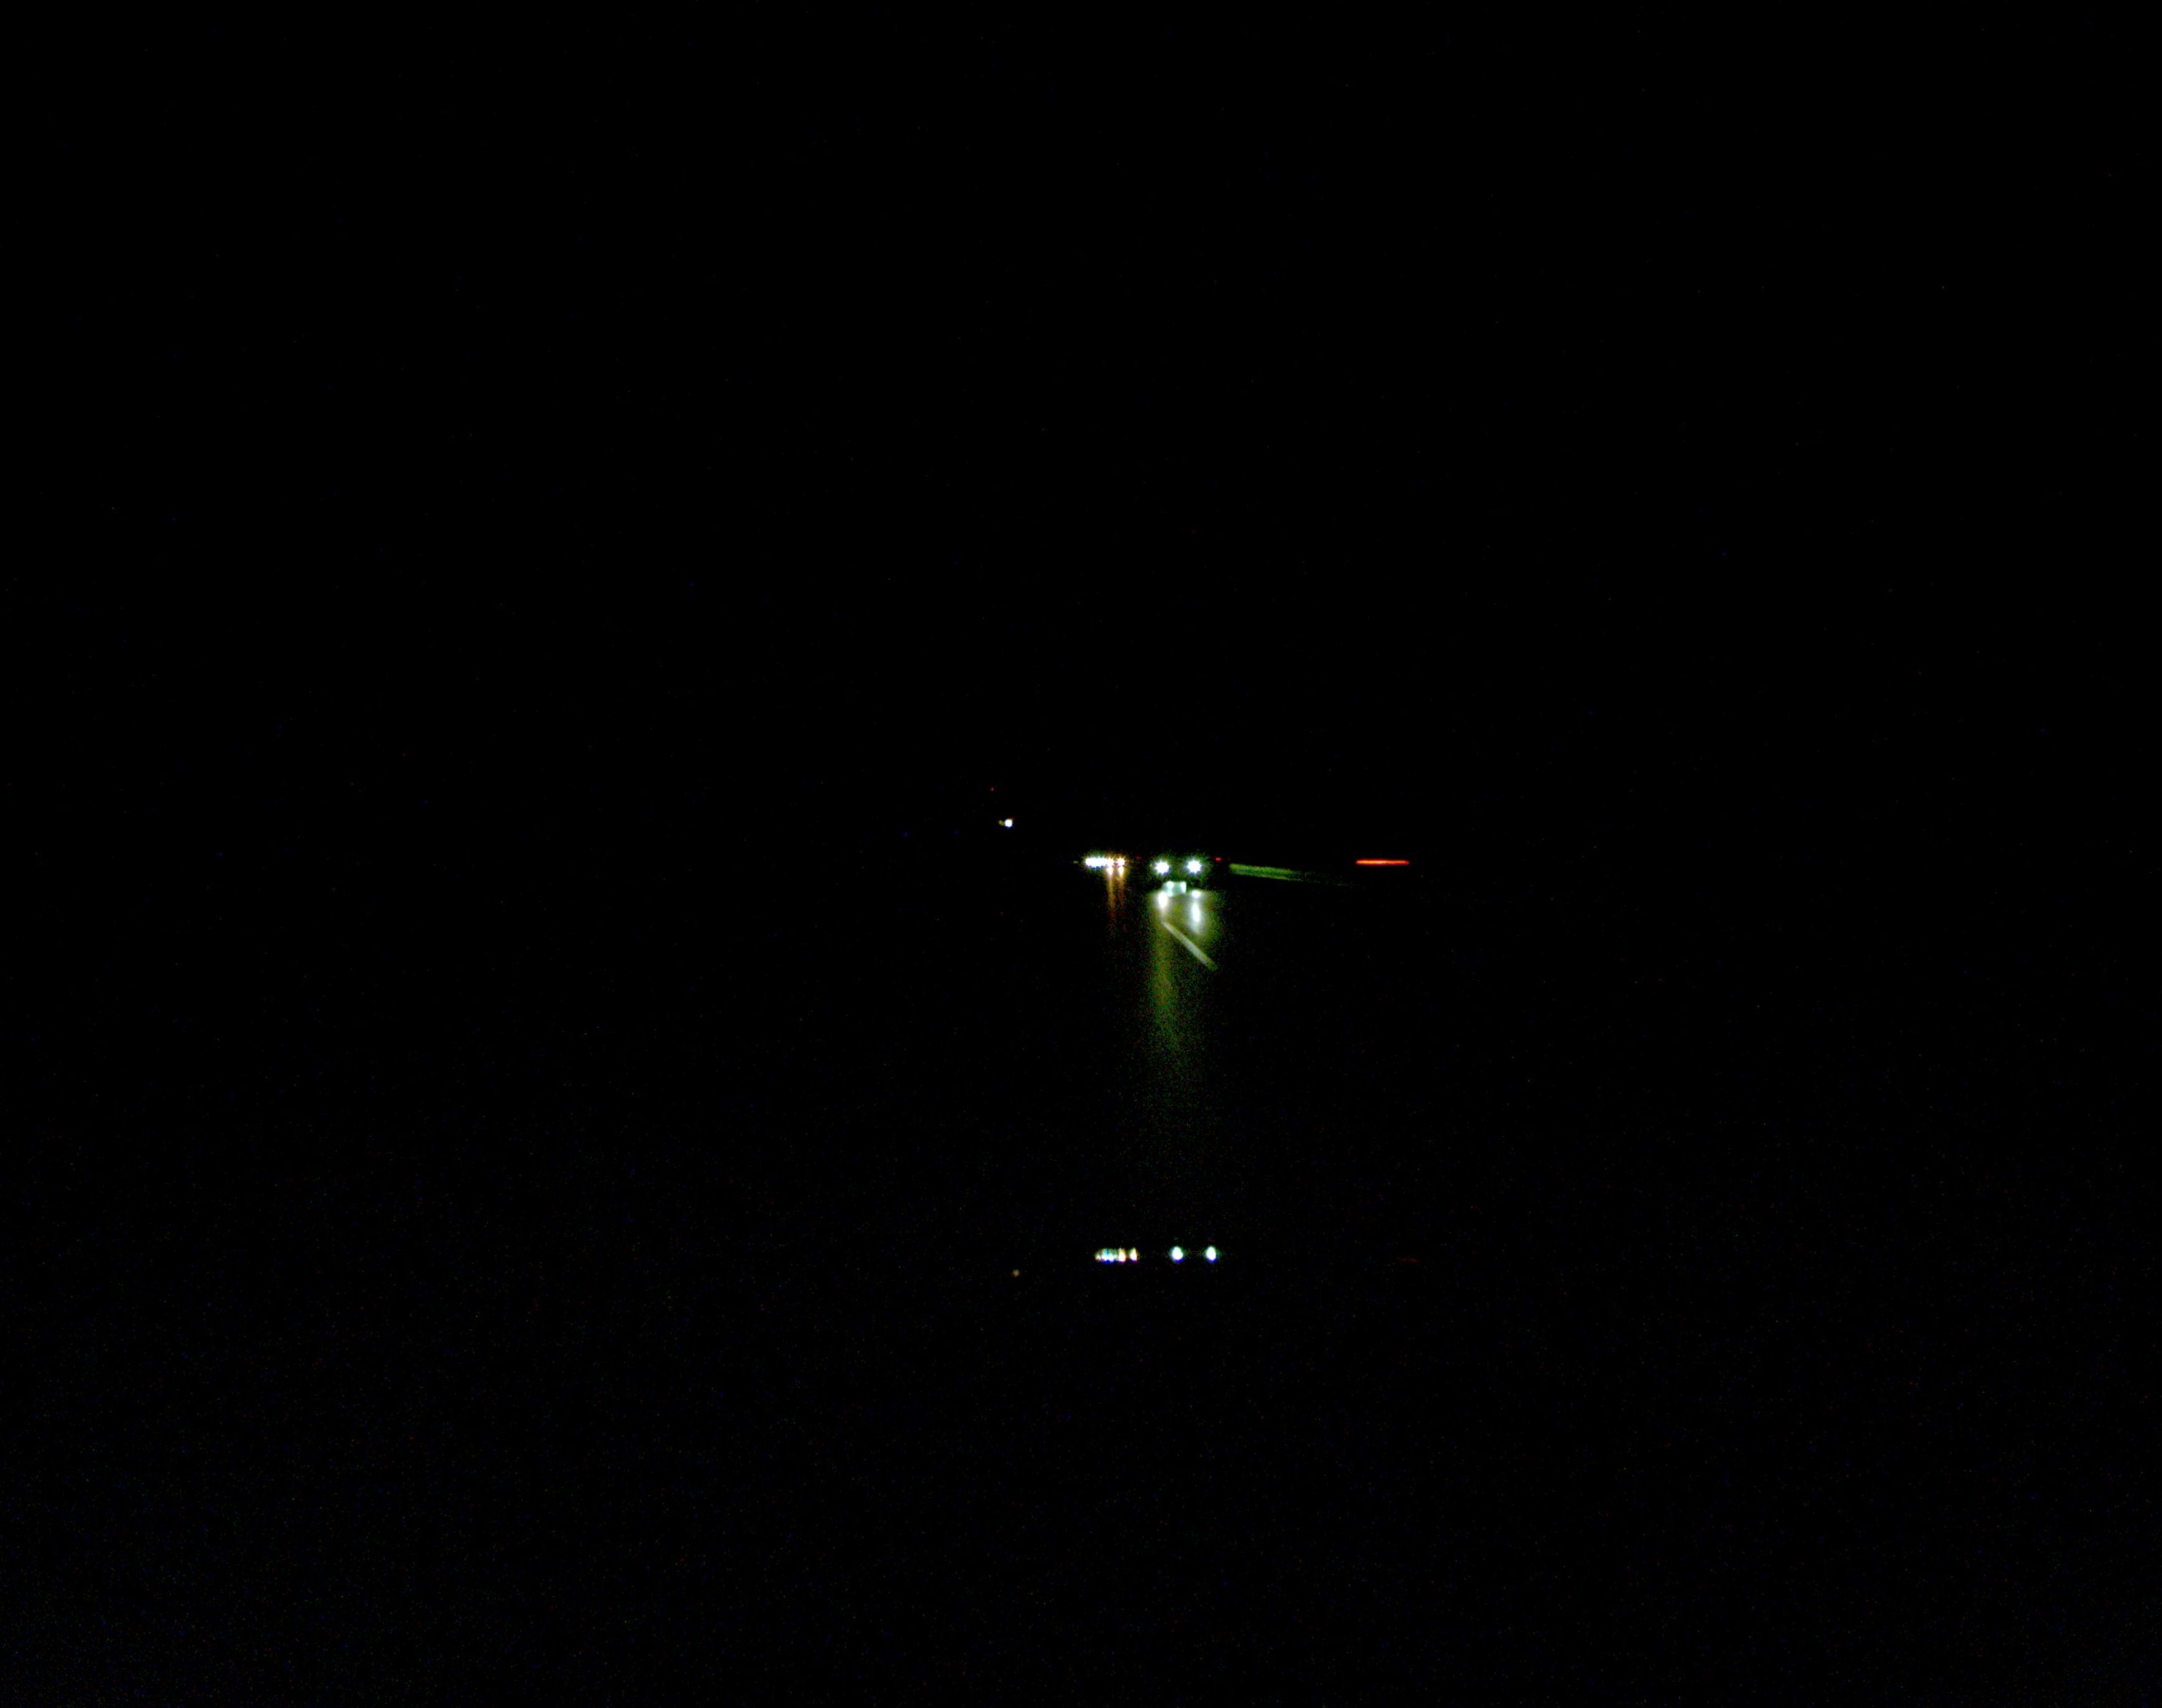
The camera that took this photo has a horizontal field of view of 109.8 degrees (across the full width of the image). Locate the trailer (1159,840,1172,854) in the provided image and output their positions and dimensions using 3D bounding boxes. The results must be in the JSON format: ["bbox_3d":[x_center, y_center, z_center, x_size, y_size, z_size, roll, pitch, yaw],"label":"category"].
[{"bbox_3d":[26.834,-2.093,242.336,3.063,4.209,13.040,-2,0,2],"label":"trailer"}]

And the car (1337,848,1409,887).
[{"bbox_3d":[16.141,0.687,42.239,2.202,1.944,4.763,-2,0,1],"label":"car"}]

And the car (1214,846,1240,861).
[{"bbox_3d":[17.599,-0.105,91.656,2.202,1.672,4.763,-2,0,1],"label":"car"}]

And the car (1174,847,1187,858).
[{"bbox_3d":[26.447,-0.421,202.660,2.499,3.011,7.139,-2,0,0],"label":"car"}]

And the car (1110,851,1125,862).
[{"bbox_3d":[5.044,0.362,106.322,1.998,1.423,4.329,-2,1,2],"label":"car"}]

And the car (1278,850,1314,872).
[{"bbox_3d":[20.581,0.633,72.962,2.202,1.944,4.763,-2,0,1],"label":"car"}]

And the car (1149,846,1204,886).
[{"bbox_3d":[4.471,0.515,36.485,1.998,1.711,5.942,-2,0,1],"label":"car"}]
